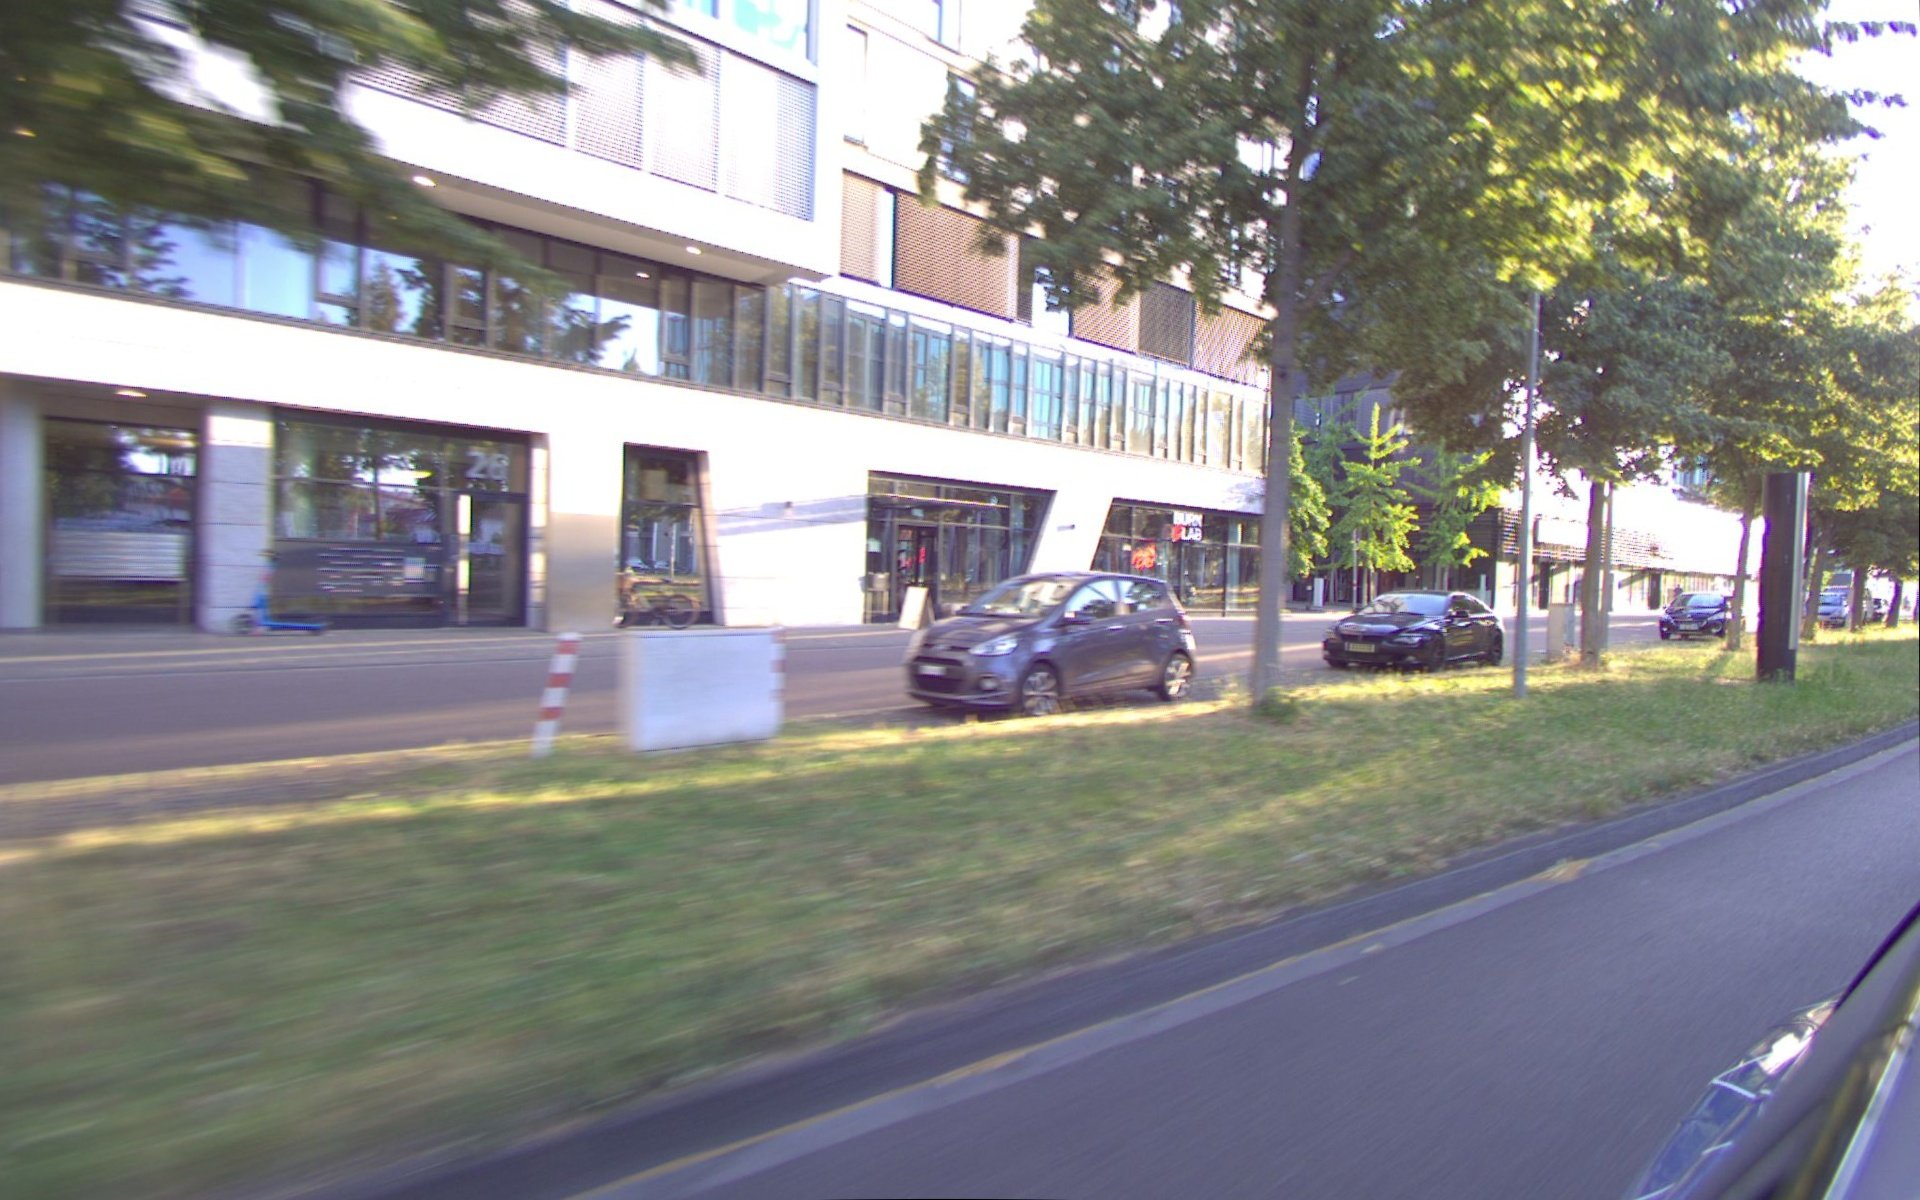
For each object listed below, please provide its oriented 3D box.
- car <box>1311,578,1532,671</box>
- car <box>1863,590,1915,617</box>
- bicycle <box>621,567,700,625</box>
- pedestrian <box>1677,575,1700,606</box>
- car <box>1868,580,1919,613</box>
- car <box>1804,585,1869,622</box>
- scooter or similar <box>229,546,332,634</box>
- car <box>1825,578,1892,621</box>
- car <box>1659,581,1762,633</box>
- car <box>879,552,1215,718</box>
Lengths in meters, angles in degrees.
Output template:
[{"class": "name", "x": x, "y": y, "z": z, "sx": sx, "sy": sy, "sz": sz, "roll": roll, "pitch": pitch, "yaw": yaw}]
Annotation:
[{"class": "car", "x": 8.143, "y": 0.351, "z": 17.635, "sx": 4.753, "sy": 1.384, "sz": 1.854, "roll": 0, "pitch": 2, "yaw": -44}, {"class": "car", "x": 54.500, "y": 0.195, "z": 59.347, "sx": 4.957, "sy": 1.515, "sz": 1.919, "roll": 0, "pitch": 1, "yaw": -44}, {"class": "bicycle", "x": -5.528, "y": -0.075, "z": 18.700, "sx": 1.364, "sy": 1.040, "sz": 0.456, "roll": 1, "pitch": 2, "yaw": -15}, {"class": "pedestrian", "x": 44.342, "y": -0.566, "z": 61.585, "sx": 0.897, "sy": 1.819, "sz": 0.898, "roll": 1, "pitch": 2, "yaw": -43}, {"class": "car", "x": 50.250, "y": -0.195, "z": 54.125, "sx": 4.216, "sy": 1.513, "sz": 1.864, "roll": -1, "pitch": 7, "yaw": -41}, {"class": "car", "x": 40.686, "y": 0.149, "z": 46.959, "sx": 3.992, "sy": 1.590, "sz": 1.841, "roll": 0, "pitch": 1, "yaw": -43}, {"class": "scooter or similar", "x": -9.922, "y": -0.149, "z": 14.791, "sx": 1.207, "sy": 1.226, "sz": 0.473, "roll": 0, "pitch": 2, "yaw": -41}, {"class": "car", "x": 45.074, "y": -0.055, "z": 50.739, "sx": 4.848, "sy": 2.014, "sz": 1.989, "roll": 0, "pitch": 1, "yaw": -42}, {"class": "car", "x": 23.101, "y": 0.218, "z": 31.109, "sx": 3.931, "sy": 1.513, "sz": 1.783, "roll": 0, "pitch": -1, "yaw": -42}, {"class": "car", "x": 1.070, "y": 0.313, "z": 11.250, "sx": 3.695, "sy": 1.534, "sz": 1.711, "roll": 0, "pitch": 0, "yaw": -43}]
